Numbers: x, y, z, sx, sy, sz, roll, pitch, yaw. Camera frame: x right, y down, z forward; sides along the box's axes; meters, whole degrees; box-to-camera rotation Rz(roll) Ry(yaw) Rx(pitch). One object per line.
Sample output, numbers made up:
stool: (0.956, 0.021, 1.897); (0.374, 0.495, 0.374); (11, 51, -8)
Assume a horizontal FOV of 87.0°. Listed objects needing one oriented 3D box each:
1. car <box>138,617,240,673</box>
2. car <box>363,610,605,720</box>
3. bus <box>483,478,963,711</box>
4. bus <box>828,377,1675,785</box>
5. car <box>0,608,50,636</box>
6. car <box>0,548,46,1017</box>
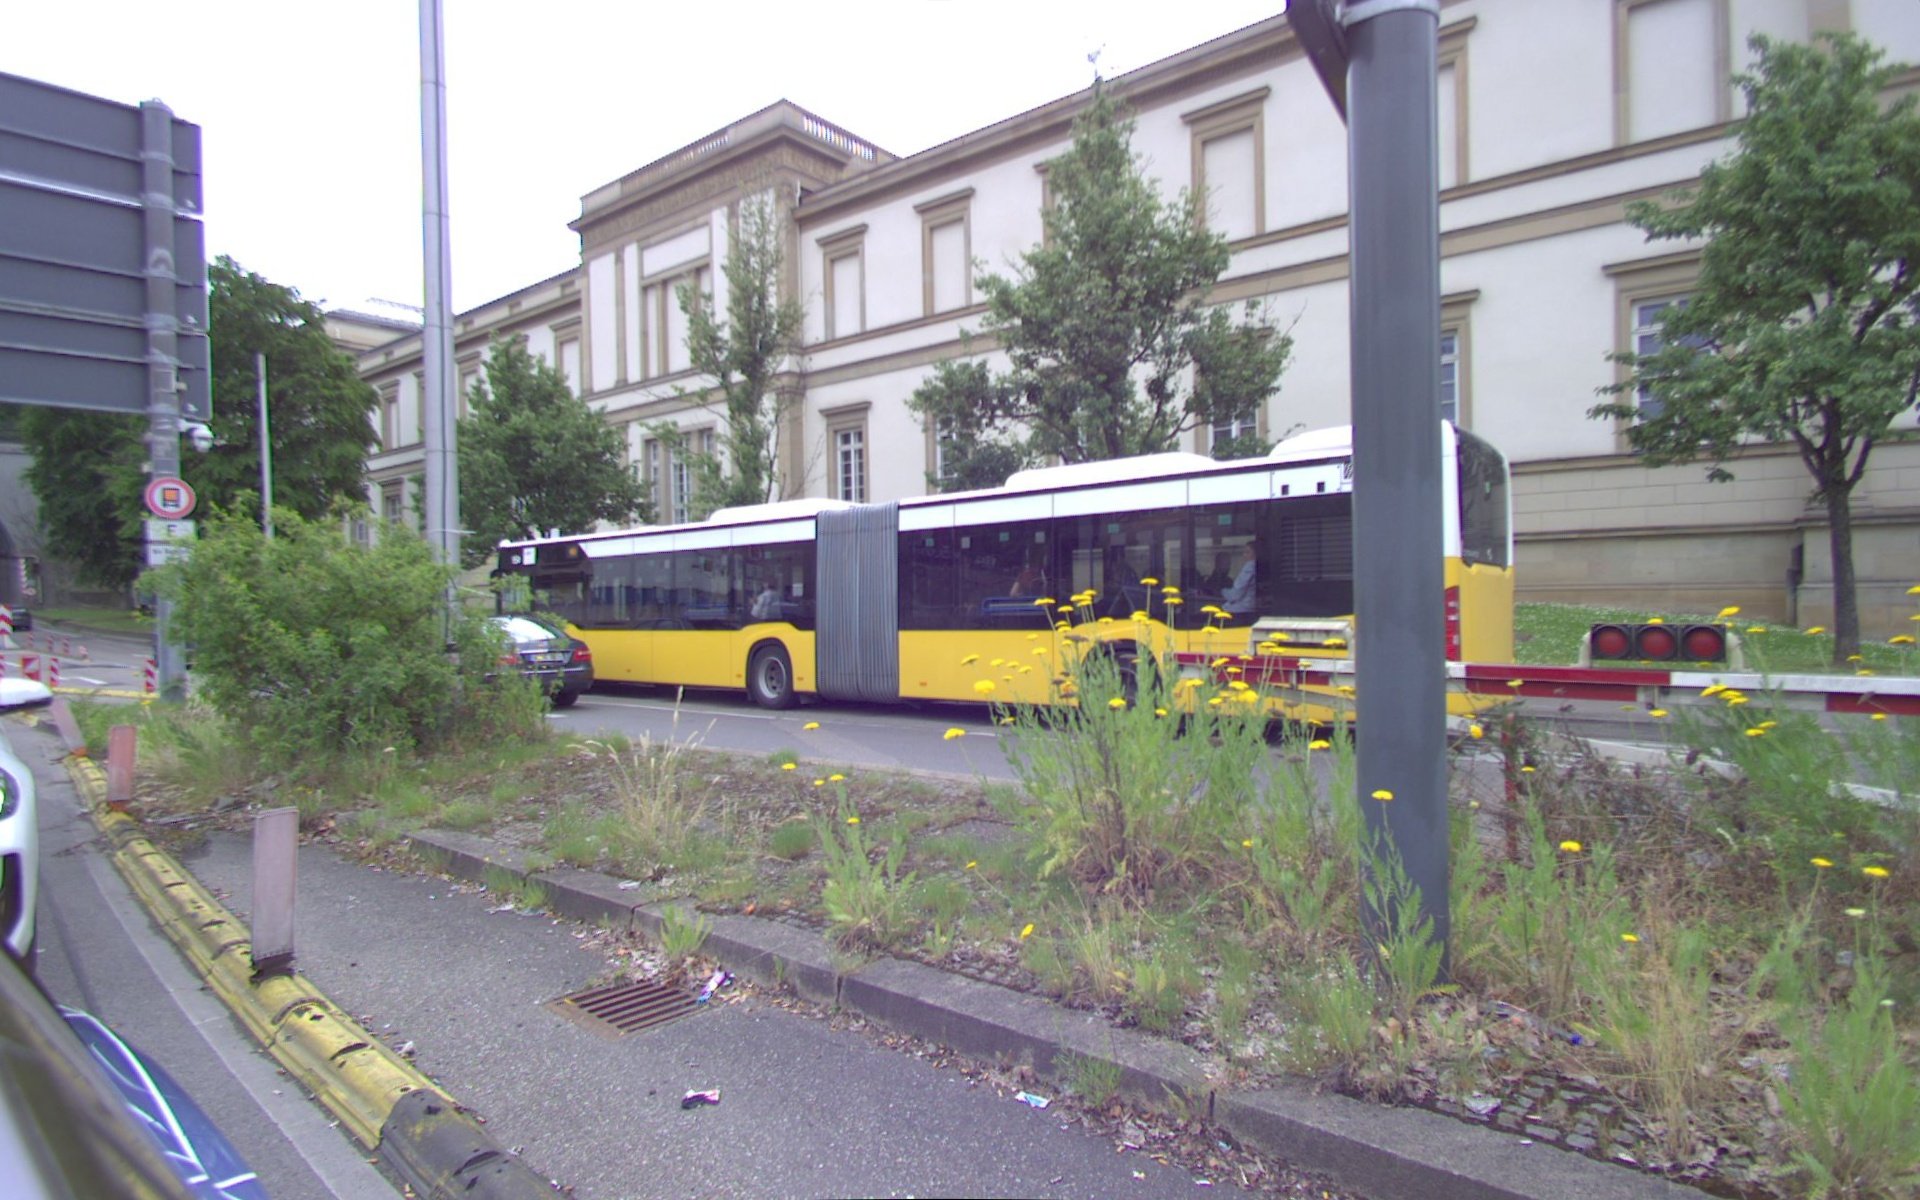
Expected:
car: (-24.006, 1.364, 31.468); (3.879, 1.601, 1.680); (-1, 0, 40)
car: (-7.693, 0.934, 16.146); (4.625, 1.482, 1.684); (-1, 0, 40)
bus: (-4.650, -0.002, 17.845); (9.737, 3.137, 2.818); (-1, 0, 39)
bus: (2.628, -0.082, 11.816); (9.115, 3.137, 2.817); (-1, 0, 40)
car: (-52.742, 1.260, 56.796); (4.282, 1.525, 1.690); (-1, -2, 38)
car: (-5.253, 0.677, 4.170); (3.881, 1.603, 1.824); (-2, 0, 42)
